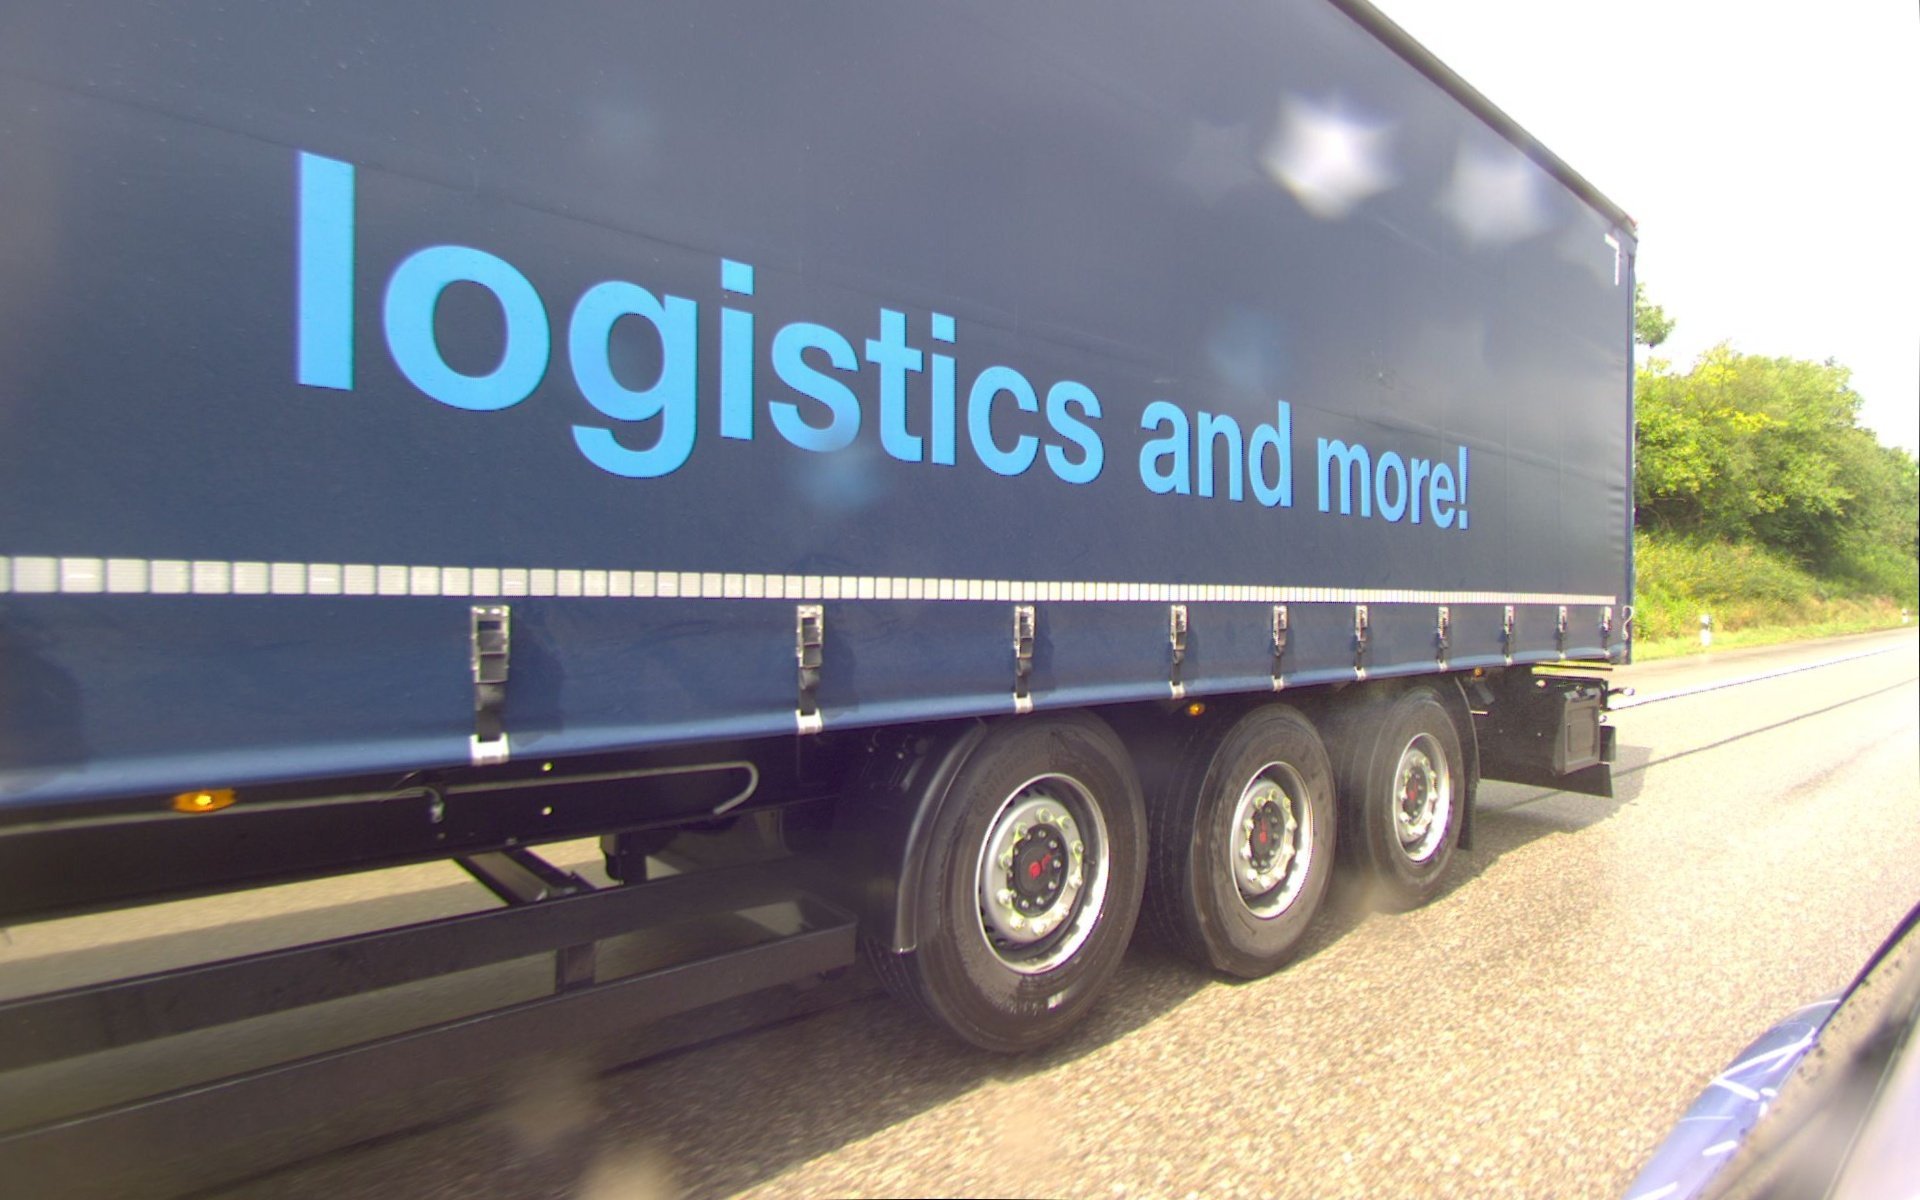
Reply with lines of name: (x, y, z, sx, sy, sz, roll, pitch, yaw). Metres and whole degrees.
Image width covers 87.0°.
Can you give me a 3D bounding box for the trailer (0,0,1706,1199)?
trailer: (-0.722, -0.651, 3.665, 13.820, 4.046, 2.638, -1, 0, -41)
